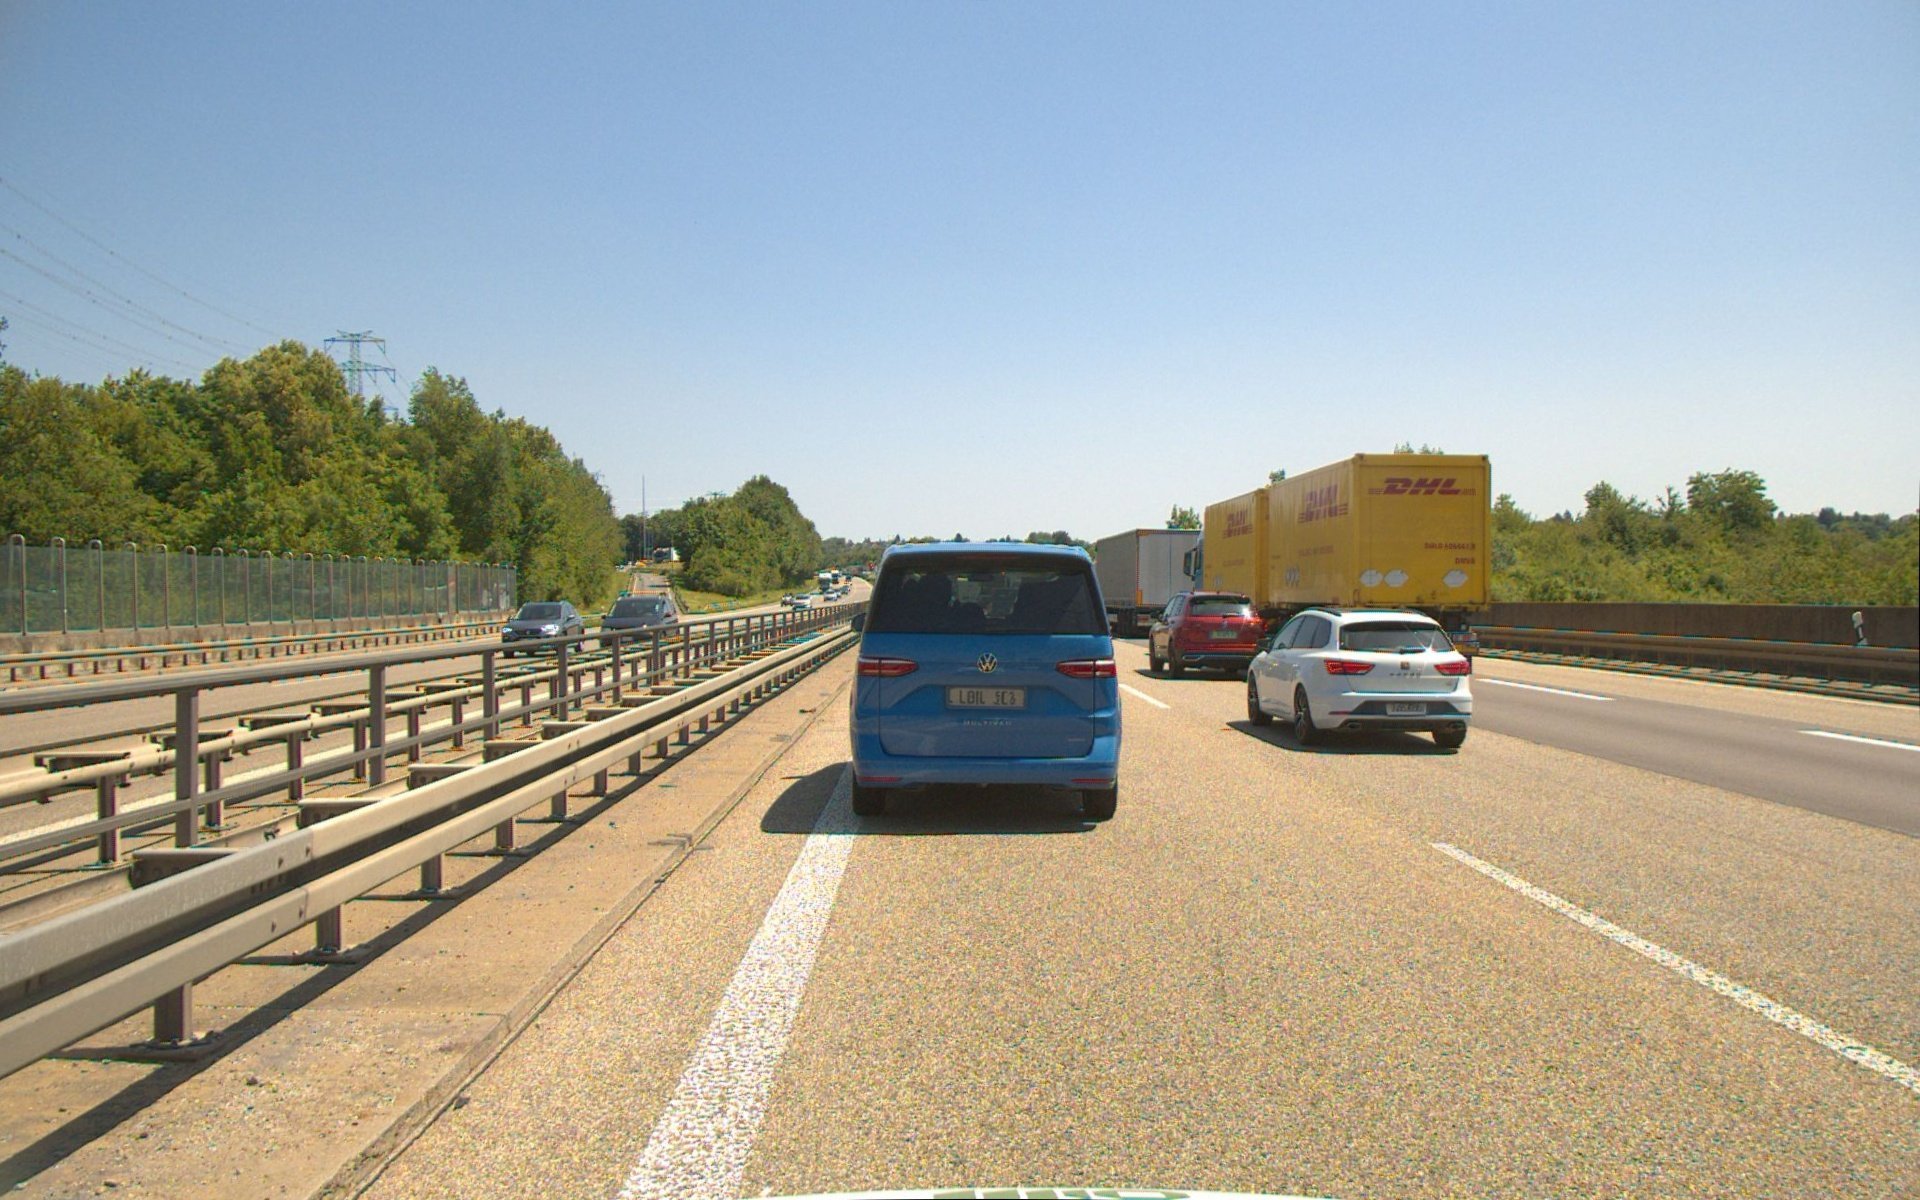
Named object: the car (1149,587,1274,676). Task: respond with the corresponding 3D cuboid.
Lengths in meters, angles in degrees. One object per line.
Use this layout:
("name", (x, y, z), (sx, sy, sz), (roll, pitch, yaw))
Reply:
("car", (4.891, 0.585, 32.663), (1.813, 1.636, 3.999), (0, 0, -1))

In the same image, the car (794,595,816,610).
("car", (-15.270, 0.222, 163.208), (1.872, 1.418, 4.164), (-2, -1, -1))

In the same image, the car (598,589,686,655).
("car", (-8.885, 0.588, 46.494), (1.719, 1.751, 4.100), (-1, 0, -1))

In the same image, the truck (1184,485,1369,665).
("truck", (8.048, -0.544, 43.542), (2.667, 4.125, 10.333), (1, -1, -1))

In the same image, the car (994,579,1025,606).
("car", (3.005, -0.467, 101.354), (1.680, 1.567, 3.820), (-1, 0, -1))

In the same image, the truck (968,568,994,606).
("truck", (2.883, -1.793, 226.118), (2.777, 4.971, 13.214), (-1, 0, -2))

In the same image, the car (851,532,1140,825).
("car", (0.202, 0.503, 12.605), (1.844, 1.869, 3.999), (0, 0, -1))

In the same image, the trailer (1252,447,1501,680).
("trailer", (8.204, -0.616, 33.884), (2.646, 4.094, 8.928), (1, -1, -1))

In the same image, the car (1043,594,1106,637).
("car", (3.985, 0.526, 58.300), (1.801, 1.438, 3.998), (0, 0, -2))

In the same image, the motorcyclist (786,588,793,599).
("motorcyclist", (-22.218, -0.866, 215.331), (0.880, 1.466, 1.082), (-1, 1, -2))

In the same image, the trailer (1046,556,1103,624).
("trailer", (6.739, -0.522, 98.507), (2.331, 3.810, 11.184), (1, -1, -1))

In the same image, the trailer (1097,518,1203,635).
("trailer", (7.422, -0.811, 66.213), (2.699, 4.219, 11.309), (1, -1, -1))

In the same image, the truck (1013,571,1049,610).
("truck", (6.273, -0.767, 146.822), (2.308, 3.275, 9.736), (1, -1, -2))

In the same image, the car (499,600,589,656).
("car", (-12.525, 0.826, 50.047), (1.719, 1.574, 3.999), (-2, -1, -1))

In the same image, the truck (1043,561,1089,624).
("truck", (6.641, -0.450, 104.025), (2.320, 3.787, 6.031), (1, -1, -1))

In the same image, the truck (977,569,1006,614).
("truck", (3.704, -0.937, 198.054), (2.777, 5.128, 11.811), (1, -1, -2))

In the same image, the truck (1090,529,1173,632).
("truck", (7.325, -0.758, 71.458), (2.712, 4.167, 6.982), (1, -1, -1))

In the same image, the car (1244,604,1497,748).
("car", (4.450, 0.765, 18.548), (1.745, 1.411, 4.187), (0, 0, -1))

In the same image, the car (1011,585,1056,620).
("car", (3.449, 0.130, 78.121), (1.681, 1.614, 3.817), (-1, 0, -5))

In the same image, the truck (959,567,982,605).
("truck", (1.505, -2.002, 246.158), (2.777, 5.467, 12.548), (1, -1, -2))

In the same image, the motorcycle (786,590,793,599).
("motorcycle", (-22.198, -0.675, 215.445), (0.687, 1.089, 2.305), (-1, 1, -1))

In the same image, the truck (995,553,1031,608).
("truck", (5.199, -1.862, 163.933), (2.777, 5.128, 11.140), (1, -1, -2))
